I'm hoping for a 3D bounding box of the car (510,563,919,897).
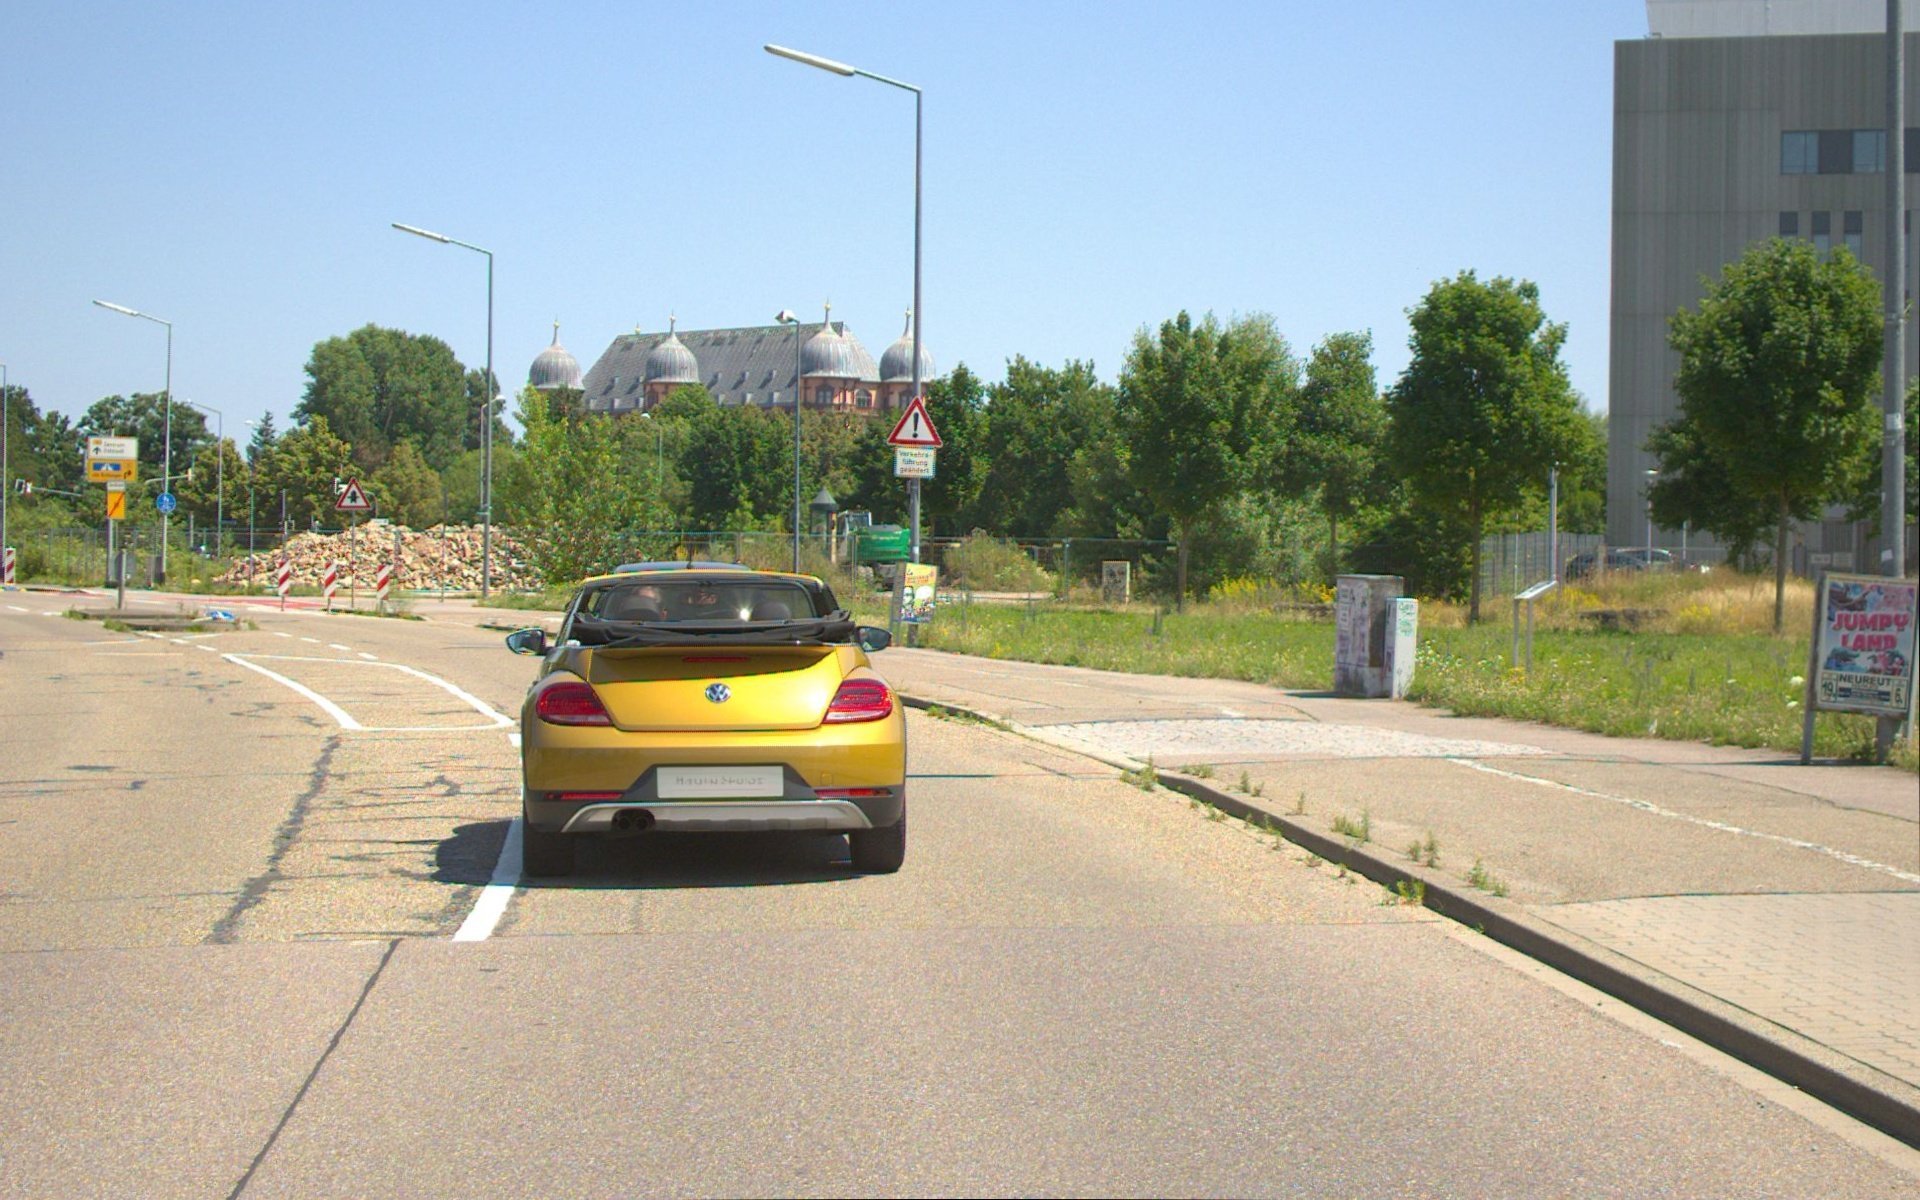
[{"bbox_3d":[-1.303,0.561,17.113,1.789,1.432,3.815,1,1,-7],"label":"car"}]

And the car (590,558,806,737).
[{"bbox_3d":[-2.357,0.368,30.159,1.726,1.438,4.001,1,1,-6],"label":"car"}]

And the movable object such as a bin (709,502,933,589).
[{"bbox_3d":[-5.595,-2.158,135.662,4.938,3.249,10.471,1,1,-26],"label":"movable object such as a bin"}]
